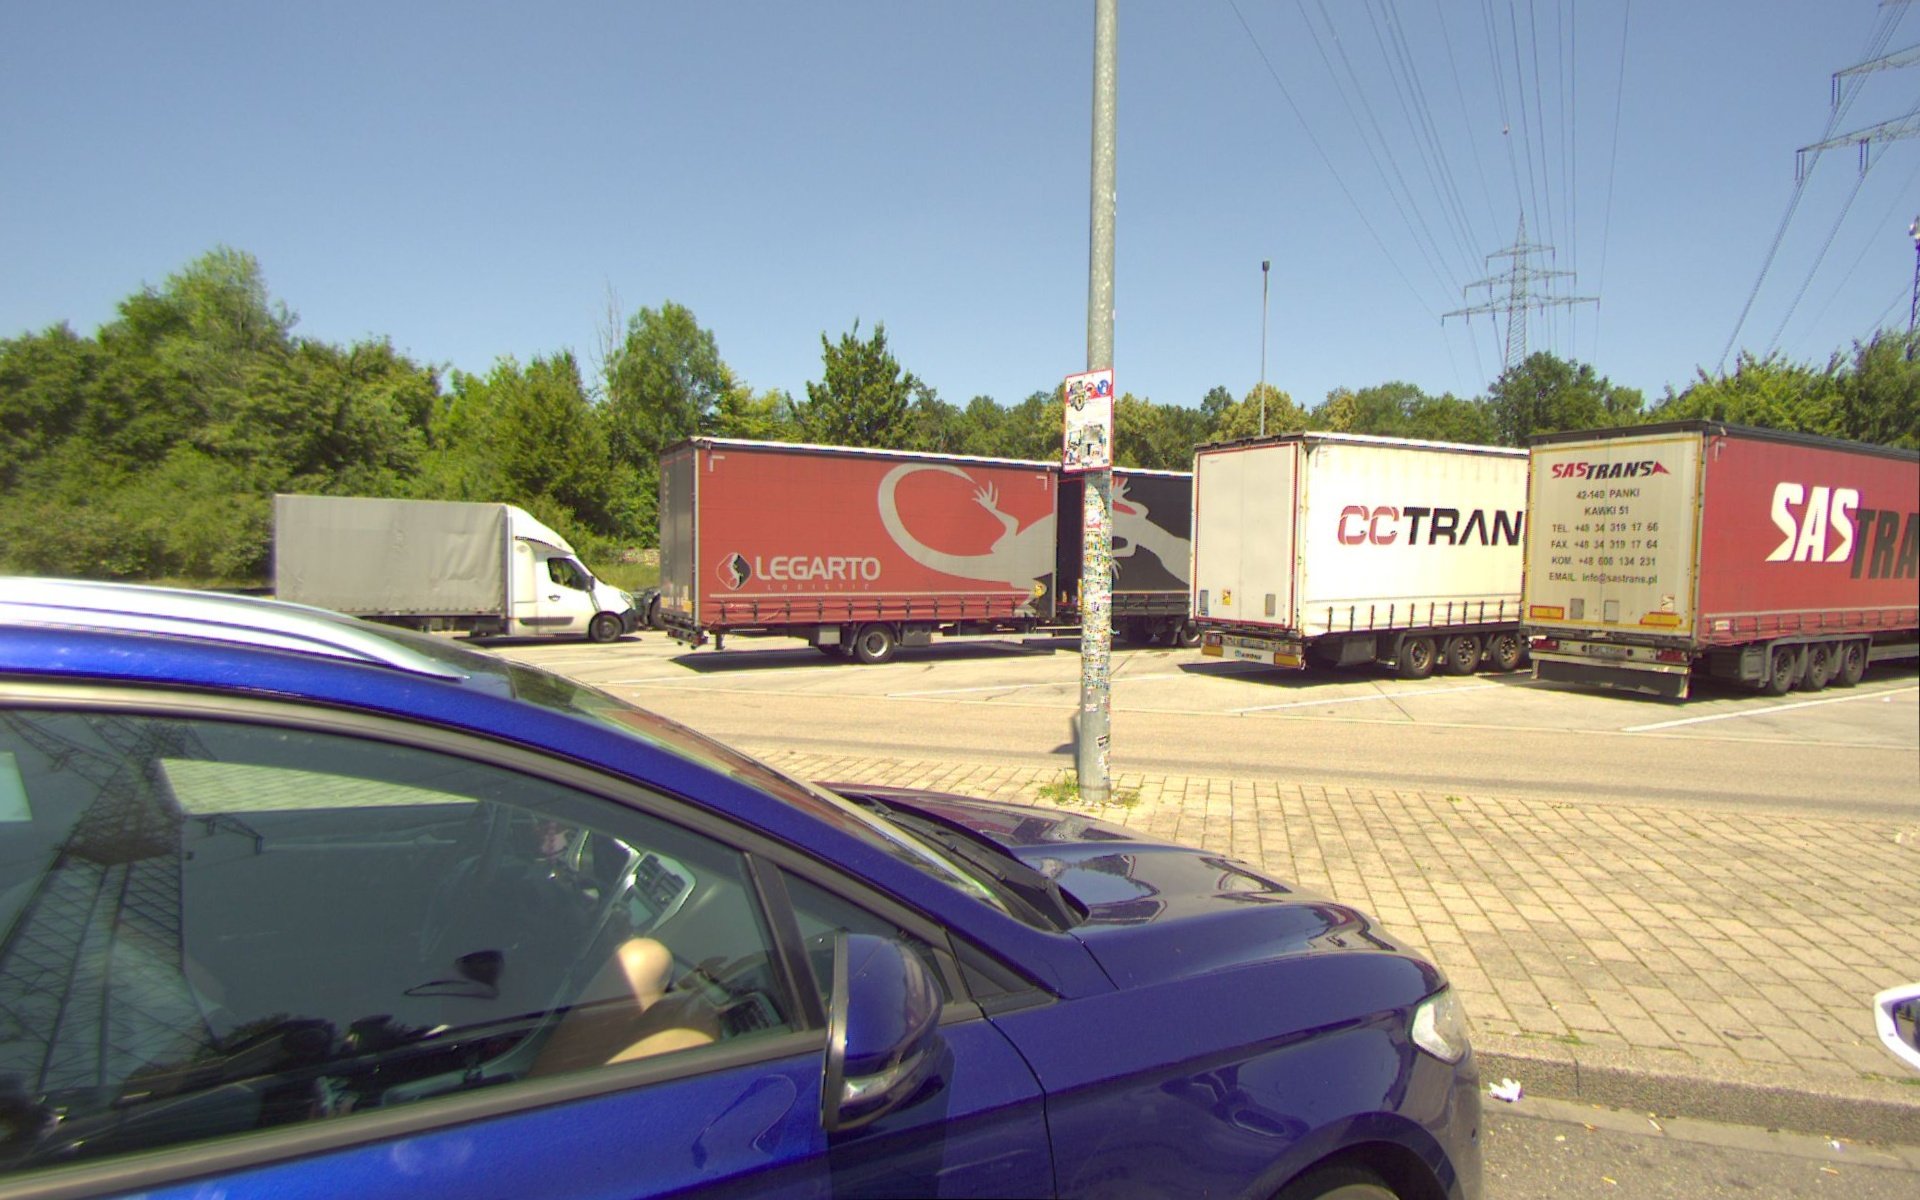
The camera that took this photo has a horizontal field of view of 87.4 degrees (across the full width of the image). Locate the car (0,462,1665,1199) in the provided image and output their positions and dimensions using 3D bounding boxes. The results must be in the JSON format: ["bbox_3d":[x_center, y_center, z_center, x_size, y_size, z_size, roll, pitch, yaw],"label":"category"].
[{"bbox_3d":[-0.987,0.655,1.473,4.592,1.502,1.727,0,0,-33],"label":"car"}]

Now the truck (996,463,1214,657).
[{"bbox_3d":[3.347,-0.904,23.365,4.273,4.072,2.689,-1,3,-30],"label":"truck"}]

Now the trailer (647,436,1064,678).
[{"bbox_3d":[-1.935,-0.830,20.270,7.996,4.101,2.696,-1,3,-30],"label":"trailer"}]

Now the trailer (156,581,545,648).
[{"bbox_3d":[-14.840,0.260,25.188,7.996,1.394,2.211,-1,3,-30],"label":"trailer"}]

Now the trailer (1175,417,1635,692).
[{"bbox_3d":[8.858,-0.820,19.332,10.049,4.267,2.714,-1,3,-30],"label":"trailer"}]

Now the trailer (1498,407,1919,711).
[{"bbox_3d":[15.397,-0.702,18.568,13.559,4.189,2.892,-1,3,-30],"label":"trailer"}]

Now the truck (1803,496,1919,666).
[{"bbox_3d":[21.718,-0.431,22.313,5.418,3.475,2.838,-1,3,-30],"label":"truck"}]

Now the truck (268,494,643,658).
[{"bbox_3d":[-11.211,-0.572,22.905,7.254,3.254,2.515,-1,3,-30],"label":"truck"}]

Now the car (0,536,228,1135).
[{"bbox_3d":[-4.561,0.582,2.258,4.592,1.554,1.726,0,1,-33],"label":"car"}]

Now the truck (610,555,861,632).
[{"bbox_3d":[-6.492,-0.162,29.529,6.961,2.040,1.984,0,0,-30],"label":"truck"}]
